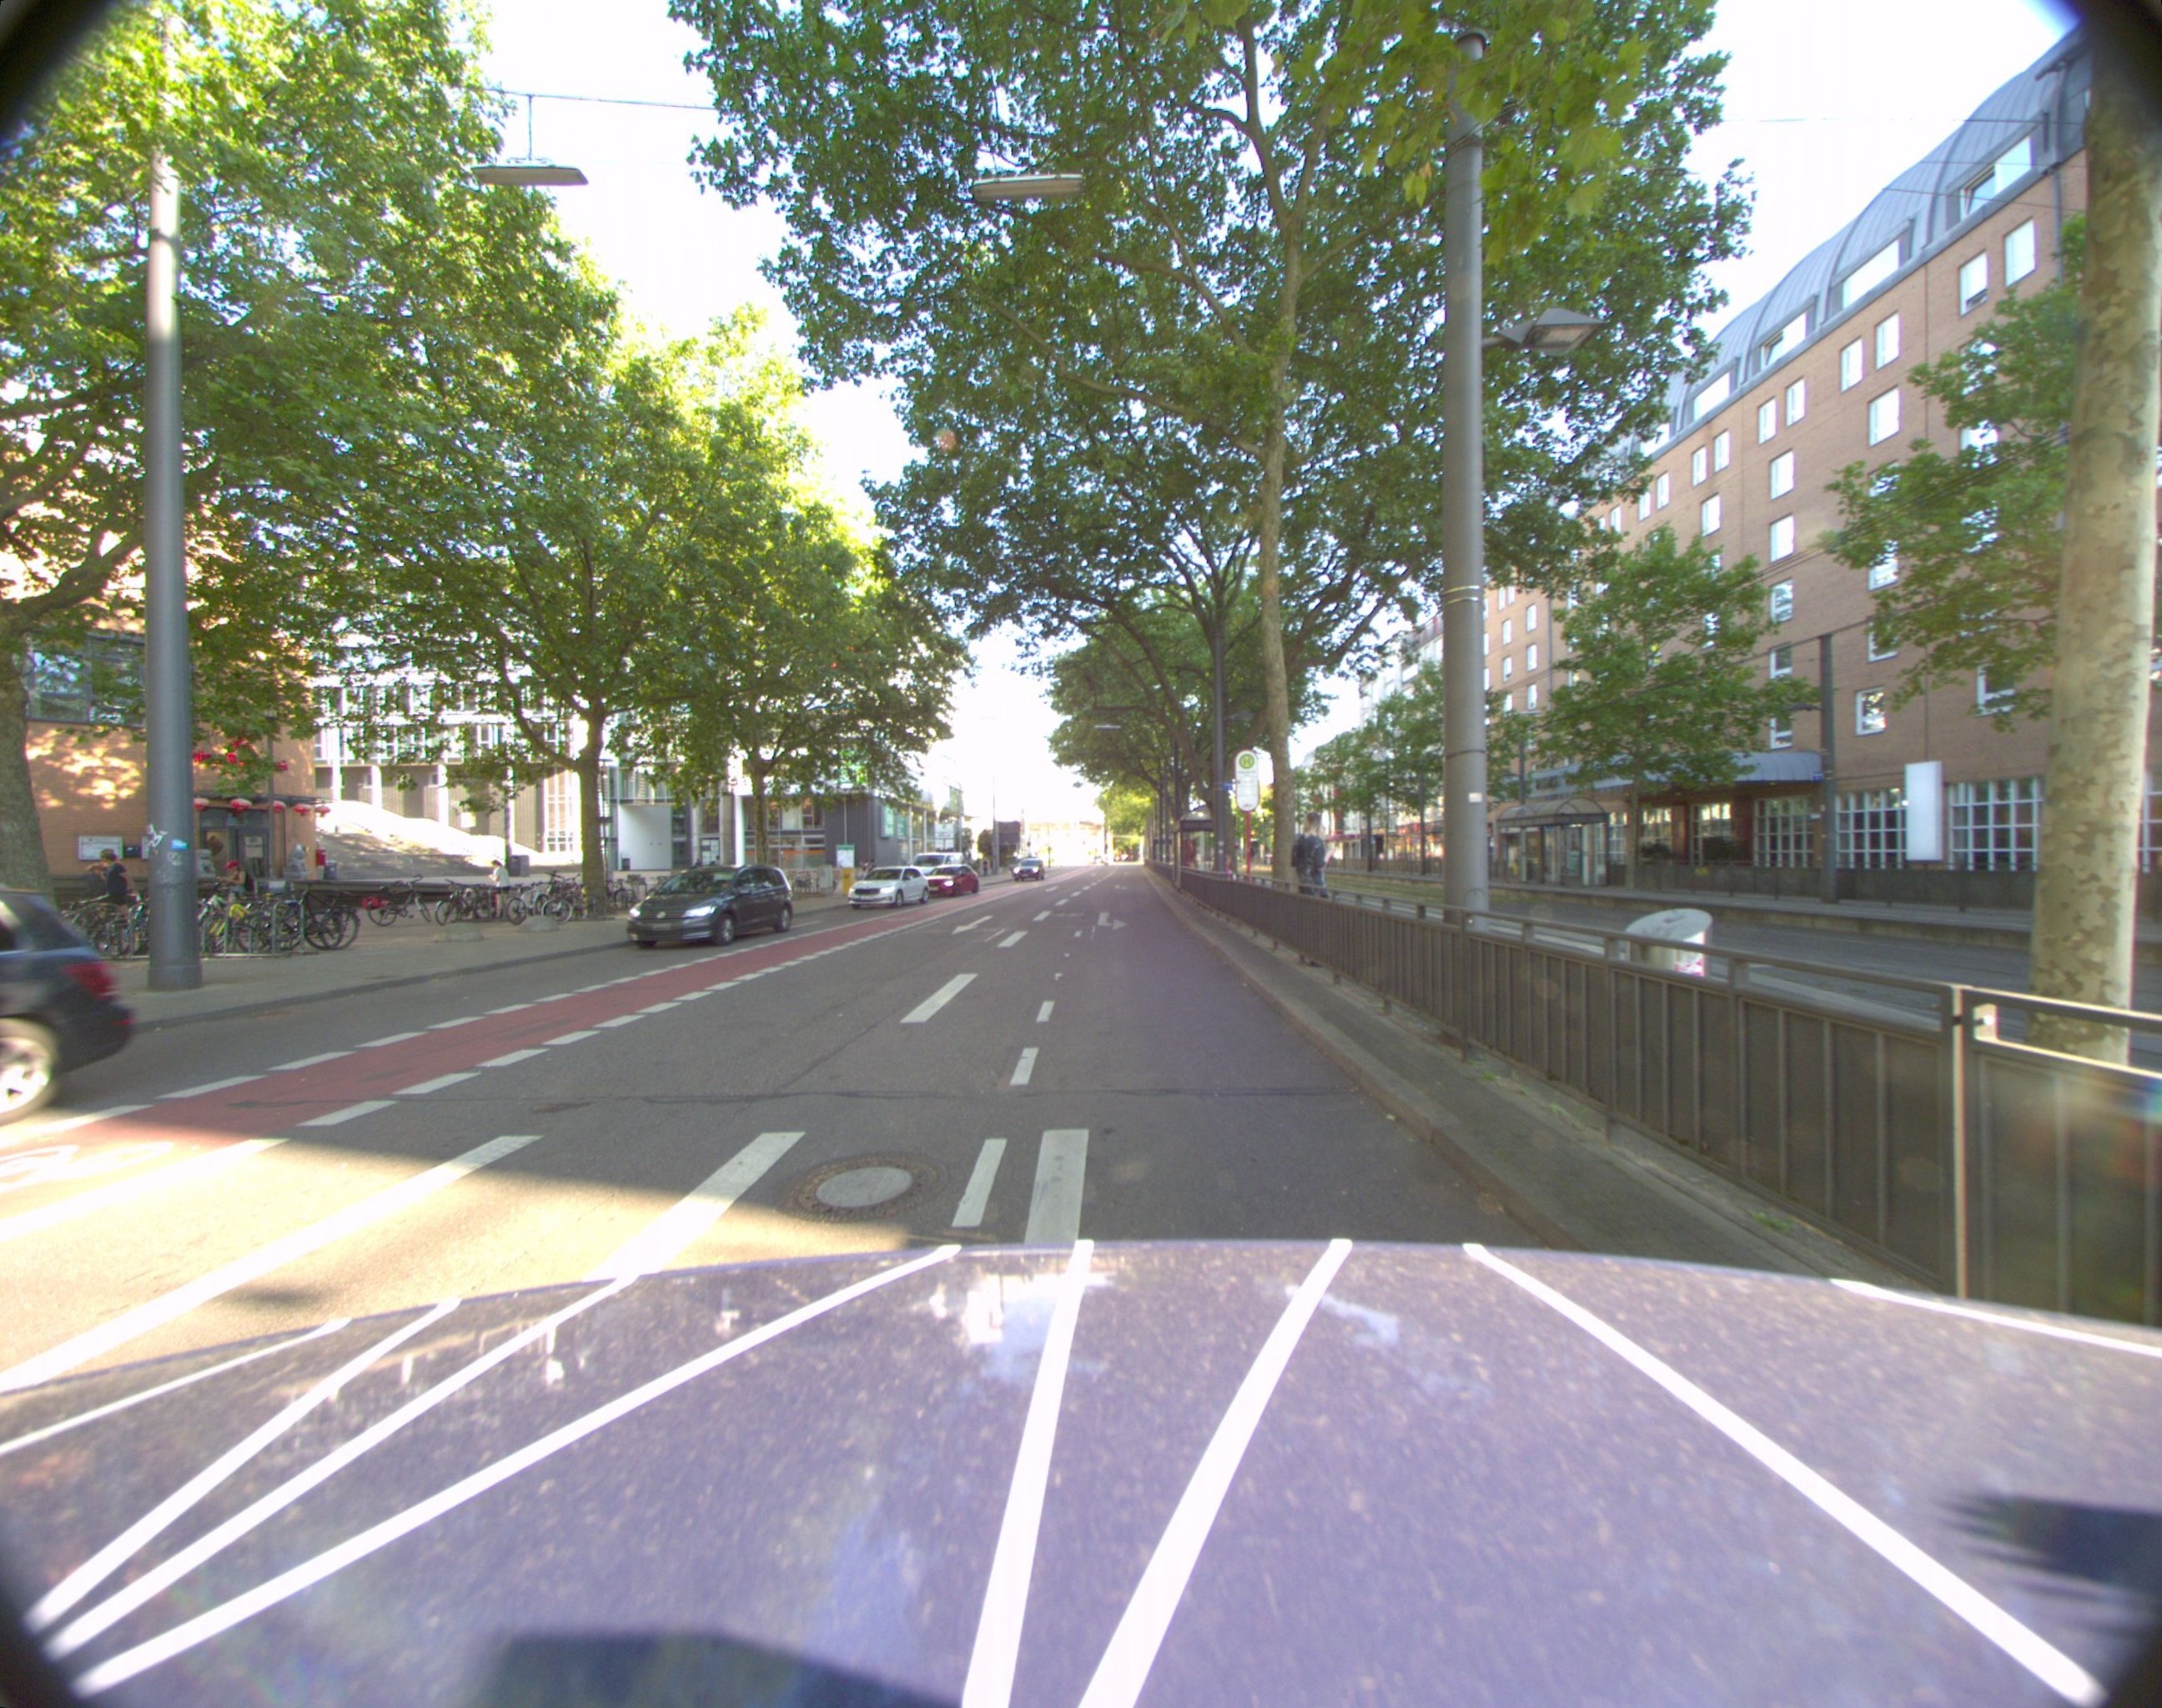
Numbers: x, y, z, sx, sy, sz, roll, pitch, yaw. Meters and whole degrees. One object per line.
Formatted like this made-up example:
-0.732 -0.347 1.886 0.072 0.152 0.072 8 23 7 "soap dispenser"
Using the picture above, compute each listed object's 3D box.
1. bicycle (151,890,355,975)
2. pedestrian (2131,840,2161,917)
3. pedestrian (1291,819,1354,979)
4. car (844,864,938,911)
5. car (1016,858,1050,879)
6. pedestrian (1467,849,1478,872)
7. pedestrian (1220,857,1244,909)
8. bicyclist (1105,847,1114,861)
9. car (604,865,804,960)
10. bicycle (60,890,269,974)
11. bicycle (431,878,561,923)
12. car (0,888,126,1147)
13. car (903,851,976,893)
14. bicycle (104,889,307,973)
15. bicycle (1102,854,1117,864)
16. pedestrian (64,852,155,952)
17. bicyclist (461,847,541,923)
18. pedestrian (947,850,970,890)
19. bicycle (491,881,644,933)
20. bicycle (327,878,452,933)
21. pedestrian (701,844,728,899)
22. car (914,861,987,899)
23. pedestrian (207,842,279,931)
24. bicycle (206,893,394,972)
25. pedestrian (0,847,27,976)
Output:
-14.046 1.276 13.034 0.751 1.155 2.398 -2 1 2 "bicycle"
24.557 0.551 17.315 0.479 1.725 0.545 0 1 8 "pedestrian"
2.857 0.522 9.031 0.543 1.823 0.524 -2 1 3 "pedestrian"
-6.839 1.168 27.806 1.834 1.481 4.198 -2 0 9 "car"
-3.645 1.084 58.478 1.784 1.481 4.197 -3 0 7 "car"
29.608 0.501 57.444 0.504 1.725 0.574 -1 1 3 "pedestrian"
3.921 0.739 19.721 0.542 1.310 0.524 -2 1 12 "pedestrian"
4.295 -0.026 116.236 0.957 2.002 0.940 -1 1 34 "bicyclist"
-7.741 1.109 16.163 1.709 1.626 4.392 -2 0 5 "car"
-15.541 1.268 13.019 0.657 1.155 2.293 -2 1 3 "bicycle"
-16.236 1.262 21.097 3.328 1.077 1.150 0 1 18 "bicycle"
-7.803 1.084 3.342 1.769 1.626 4.250 -2 0 0 "car"
-7.284 0.861 39.882 1.932 1.953 5.921 -2 0 8 "car"
-14.855 1.260 13.024 0.671 1.155 2.305 -2 1 3 "bicycle"
4.366 0.769 116.288 0.948 1.460 2.711 0 0 34 "bicycle"
-23.064 1.109 18.055 1.048 2.235 1.221 -1 1 38 "pedestrian"
-16.029 0.829 21.018 1.296 2.002 1.158 -1 1 17 "bicyclist"
-6.376 0.838 39.666 0.815 2.001 0.979 -2 0 10 "pedestrian"
-13.087 1.318 19.545 0.975 1.020 3.208 -2 1 23 "bicycle"
-17.824 1.290 19.714 0.699 1.193 2.700 -2 1 1 "bicycle"
-18.093 0.863 37.509 0.981 2.633 0.900 -3 1 -31 "pedestrian"
-5.929 1.155 35.003 1.834 1.481 4.199 -3 0 12 "car"
-21.462 0.816 19.466 0.842 2.220 0.905 -2 1 22 "pedestrian"
-13.112 1.274 12.900 0.682 1.054 2.337 -1 1 2 "bicycle"
-17.079 0.892 11.462 0.934 2.002 1.091 -1 1 -25 "pedestrian"
